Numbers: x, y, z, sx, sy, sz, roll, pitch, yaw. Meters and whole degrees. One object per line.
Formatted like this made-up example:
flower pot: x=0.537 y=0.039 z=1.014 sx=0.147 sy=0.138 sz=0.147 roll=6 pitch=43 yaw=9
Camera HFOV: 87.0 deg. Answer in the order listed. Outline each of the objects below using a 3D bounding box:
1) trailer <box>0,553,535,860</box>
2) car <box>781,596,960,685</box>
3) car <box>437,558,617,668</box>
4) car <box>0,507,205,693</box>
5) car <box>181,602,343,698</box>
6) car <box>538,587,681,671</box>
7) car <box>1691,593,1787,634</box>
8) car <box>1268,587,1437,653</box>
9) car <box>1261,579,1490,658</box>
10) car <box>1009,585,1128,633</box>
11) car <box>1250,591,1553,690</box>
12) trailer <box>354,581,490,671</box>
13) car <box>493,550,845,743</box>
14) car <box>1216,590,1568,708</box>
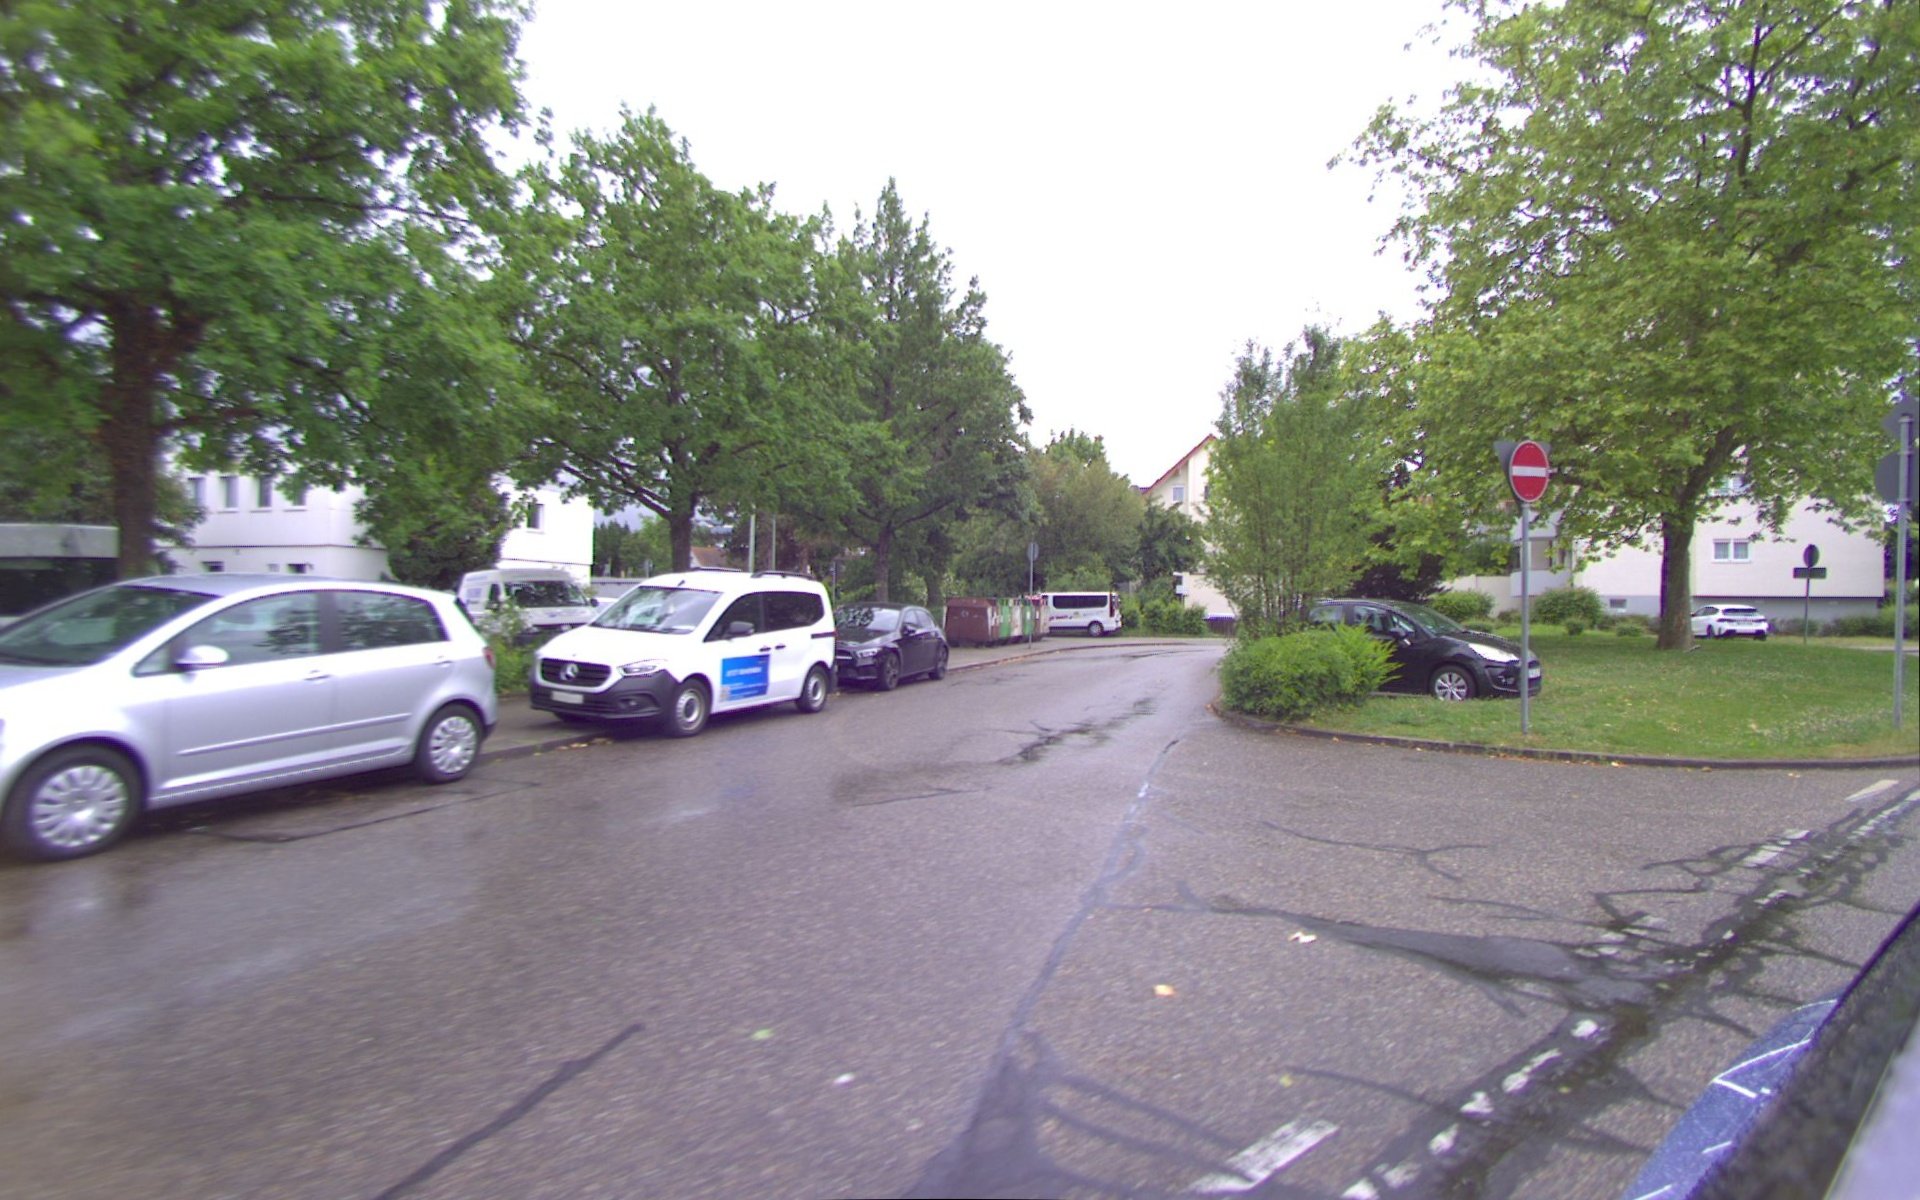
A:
trailer: x=-5.311 y=0.527 z=6.998 sx=1.974 sy=1.562 sz=4.399 roll=0 pitch=0 yaw=19
car: x=-1.453 y=0.625 z=18.095 sx=1.742 sy=1.400 sz=4.163 roll=0 pitch=0 yaw=17
car: x=-9.160 y=0.202 z=21.195 sx=1.966 sy=2.039 sz=4.755 roll=0 pitch=1 yaw=-43
car: x=-12.096 y=-0.049 z=13.742 sx=5.819 sy=2.039 sz=1.969 roll=1 pitch=1 yaw=43
car: x=-11.239 y=0.699 z=16.179 sx=1.622 sy=1.312 sz=3.992 roll=0 pitch=0 yaw=-42
car: x=-8.421 y=0.623 z=24.162 sx=1.794 sy=1.796 sz=3.894 roll=0 pitch=1 yaw=-43
car: x=30.739 y=0.504 z=40.068 sx=1.722 sy=1.499 sz=3.750 roll=1 pitch=1 yaw=16
car: x=10.682 y=0.484 z=27.852 sx=1.728 sy=1.647 sz=4.301 roll=0 pitch=1 yaw=-26
car: x=8.464 y=0.307 z=20.852 sx=1.734 sy=1.461 sz=4.015 roll=0 pitch=1 yaw=-42
car: x=4.825 y=0.368 z=45.064 sx=4.935 sy=2.039 sz=2.072 roll=0 pitch=0 yaw=21
car: x=7.581 y=0.602 z=17.751 sx=1.734 sy=1.461 sz=4.579 roll=0 pitch=1 yaw=-42
trailer: x=-9.959 y=0.411 z=18.600 sx=1.680 sy=1.455 sz=3.999 roll=0 pitch=0 yaw=-36
car: x=-3.265 y=0.446 z=12.304 sx=1.977 sy=1.905 sz=4.181 roll=0 pitch=0 yaw=22
car: x=6.290 y=0.606 z=15.197 sx=1.734 sy=1.461 sz=4.579 roll=0 pitch=1 yaw=-42
